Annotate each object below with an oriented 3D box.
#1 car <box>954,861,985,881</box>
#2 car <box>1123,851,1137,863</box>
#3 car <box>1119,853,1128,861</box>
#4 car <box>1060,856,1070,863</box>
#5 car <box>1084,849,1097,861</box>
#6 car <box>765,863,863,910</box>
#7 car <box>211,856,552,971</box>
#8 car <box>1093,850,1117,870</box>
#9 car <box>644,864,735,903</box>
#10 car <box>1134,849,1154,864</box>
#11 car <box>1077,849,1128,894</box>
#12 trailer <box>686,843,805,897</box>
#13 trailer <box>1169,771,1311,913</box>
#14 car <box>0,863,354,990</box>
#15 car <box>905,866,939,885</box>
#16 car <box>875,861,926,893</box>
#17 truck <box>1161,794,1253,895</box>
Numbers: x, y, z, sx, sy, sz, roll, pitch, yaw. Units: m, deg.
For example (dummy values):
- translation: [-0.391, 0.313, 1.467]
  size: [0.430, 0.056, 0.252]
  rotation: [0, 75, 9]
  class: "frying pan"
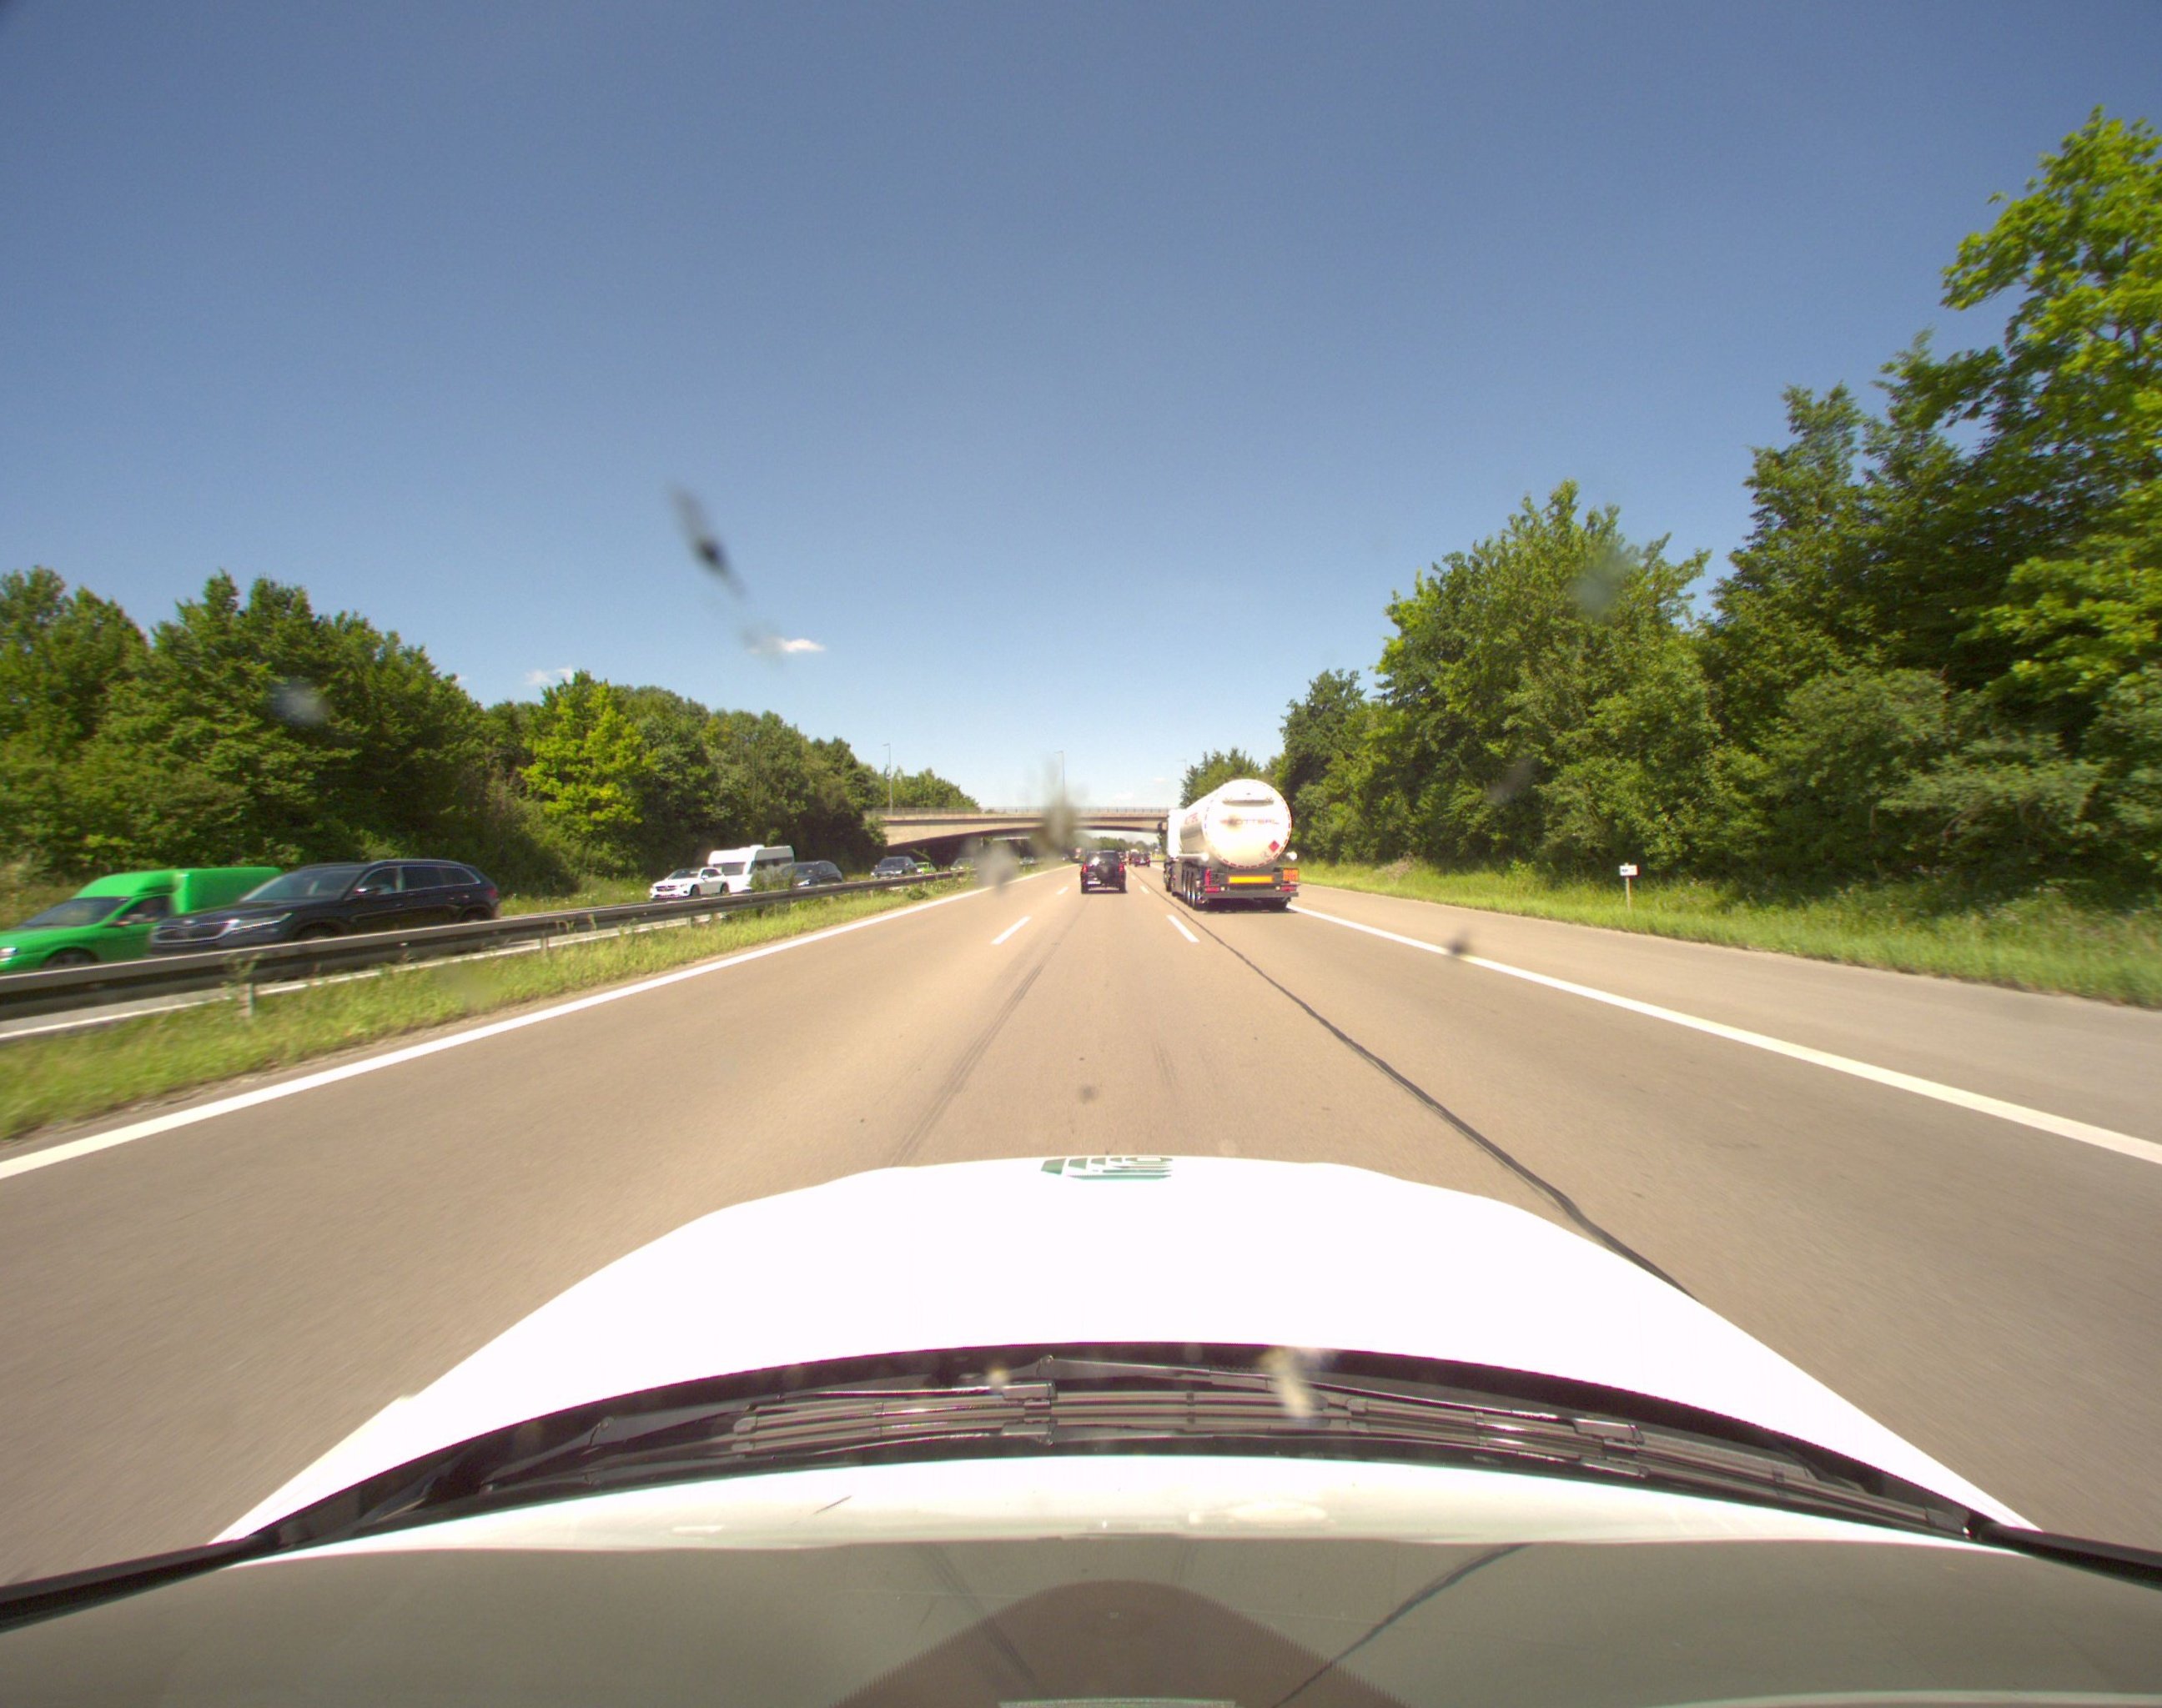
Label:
- translation: [-9.650, 1.483, 70.957]
  size: [1.908, 1.601, 4.436]
  rotation: [-2, 0, 2]
  class: "car"
- translation: [6.836, 0.483, 113.739]
  size: [1.835, 1.611, 4.003]
  rotation: [-2, -1, 3]
  class: "car"
- translation: [9.594, 0.577, 185.540]
  size: [1.986, 1.750, 4.206]
  rotation: [-2, 0, 2]
  class: "car"
- translation: [-3.592, 1.236, 182.970]
  size: [1.789, 1.666, 4.132]
  rotation: [-2, 0, 4]
  class: "car"
- translation: [1.638, 0.144, 139.336]
  size: [1.986, 2.013, 4.950]
  rotation: [-2, 0, 1]
  class: "car"
- translation: [-10.487, 1.216, 32.421]
  size: [1.986, 1.604, 5.093]
  rotation: [-2, 0, 2]
  class: "car"
- translation: [-11.355, 0.886, 13.751]
  size: [1.843, 1.574, 4.424]
  rotation: [-2, -1, 2]
  class: "car"
- translation: [2.189, 0.576, 74.525]
  size: [1.987, 1.706, 4.334]
  rotation: [-2, 0, -1]
  class: "car"
- translation: [-18.447, 1.345, 38.670]
  size: [1.839, 1.606, 4.812]
  rotation: [-2, 0, 2]
  class: "car"
- translation: [7.289, 0.326, 94.568]
  size: [1.987, 1.684, 4.000]
  rotation: [-2, -1, 0]
  class: "car"
- translation: [0.848, 0.667, 32.792]
  size: [1.900, 1.665, 4.000]
  rotation: [-2, 0, 1]
  class: "car"
- translation: [-18.396, 0.799, 45.420]
  size: [2.721, 2.687, 8.634]
  rotation: [-2, 0, 2]
  class: "trailer"
- translation: [4.413, -0.275, 25.136]
  size: [2.638, 3.390, 11.158]
  rotation: [-1, 0, 2]
  class: "trailer"
- translation: [-15.814, 1.129, 14.445]
  size: [1.807, 1.809, 4.382]
  rotation: [-2, 0, 1]
  class: "car"
- translation: [-13.313, 1.791, 68.440]
  size: [1.737, 1.427, 4.806]
  rotation: [-2, 0, 2]
  class: "car"
- translation: [-10.313, 1.262, 46.782]
  size: [1.865, 1.693, 4.002]
  rotation: [-1, 0, 2]
  class: "car"
- translation: [4.576, -0.309, 30.781]
  size: [2.628, 3.374, 6.490]
  rotation: [-1, 0, 2]
  class: "truck"
